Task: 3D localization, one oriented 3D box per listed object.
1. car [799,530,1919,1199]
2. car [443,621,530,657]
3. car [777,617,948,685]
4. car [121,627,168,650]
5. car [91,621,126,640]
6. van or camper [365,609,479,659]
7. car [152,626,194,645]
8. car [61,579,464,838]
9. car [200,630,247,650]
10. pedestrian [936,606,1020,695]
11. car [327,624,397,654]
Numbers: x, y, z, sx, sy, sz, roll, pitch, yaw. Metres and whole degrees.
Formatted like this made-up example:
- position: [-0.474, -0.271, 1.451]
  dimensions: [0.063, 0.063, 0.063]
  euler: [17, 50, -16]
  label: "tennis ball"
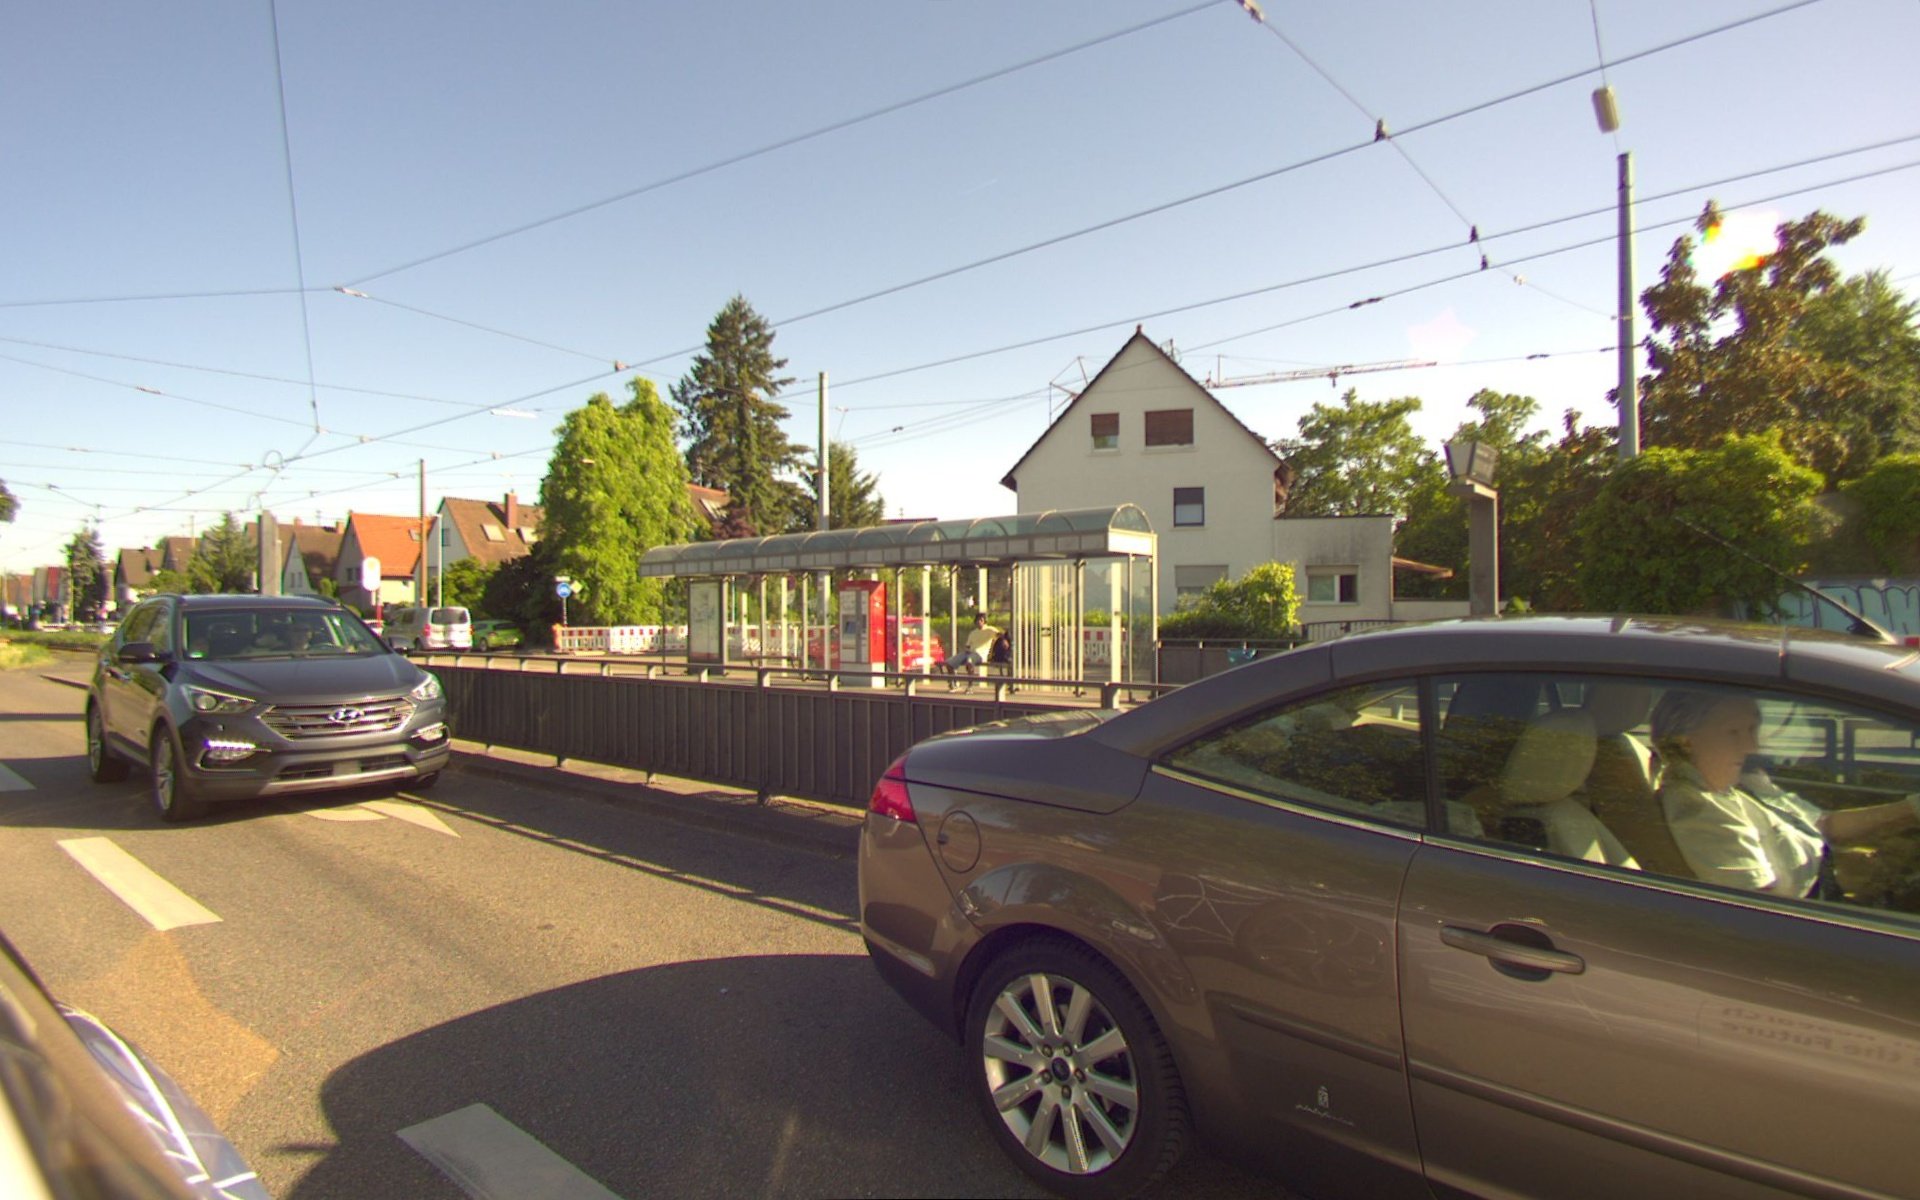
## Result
- position: [1.724, 0.648, 2.278]
  dimensions: [4.331, 1.461, 1.757]
  euler: [-2, -2, 41]
  label: "car"
- position: [-21.690, 1.732, 46.325]
  dimensions: [4.064, 1.512, 1.974]
  euler: [-1, 0, 38]
  label: "car"
- position: [-2.283, 1.122, 23.106]
  dimensions: [4.015, 1.413, 1.587]
  euler: [-1, -2, 41]
  label: "car"
- position: [-55.193, 2.588, 68.460]
  dimensions: [4.341, 1.532, 1.717]
  euler: [-2, -2, 41]
  label: "car"
- position: [-84.638, 3.013, 100.546]
  dimensions: [4.582, 1.877, 1.973]
  euler: [-2, -1, 41]
  label: "car"
- position: [-21.169, 1.301, 39.714]
  dimensions: [5.984, 1.842, 1.973]
  euler: [-1, -1, 41]
  label: "van or camper"
- position: [-65.220, 2.914, 83.872]
  dimensions: [4.837, 1.483, 1.864]
  euler: [-2, 0, 42]
  label: "car"
- position: [-5.991, 0.746, 8.493]
  dimensions: [4.285, 1.642, 1.757]
  euler: [-2, -2, 41]
  label: "car"
- position: [-54.272, 2.947, 74.562]
  dimensions: [4.308, 1.382, 1.972]
  euler: [-2, -1, 42]
  label: "car"
- position: [0.313, 0.869, 17.517]
  dimensions: [1.006, 1.464, 1.050]
  euler: [-1, -3, 40]
  label: "pedestrian"
- position: [-32.991, 2.118, 55.804]
  dimensions: [4.610, 1.483, 1.865]
  euler: [-1, 0, 40]
  label: "car"
